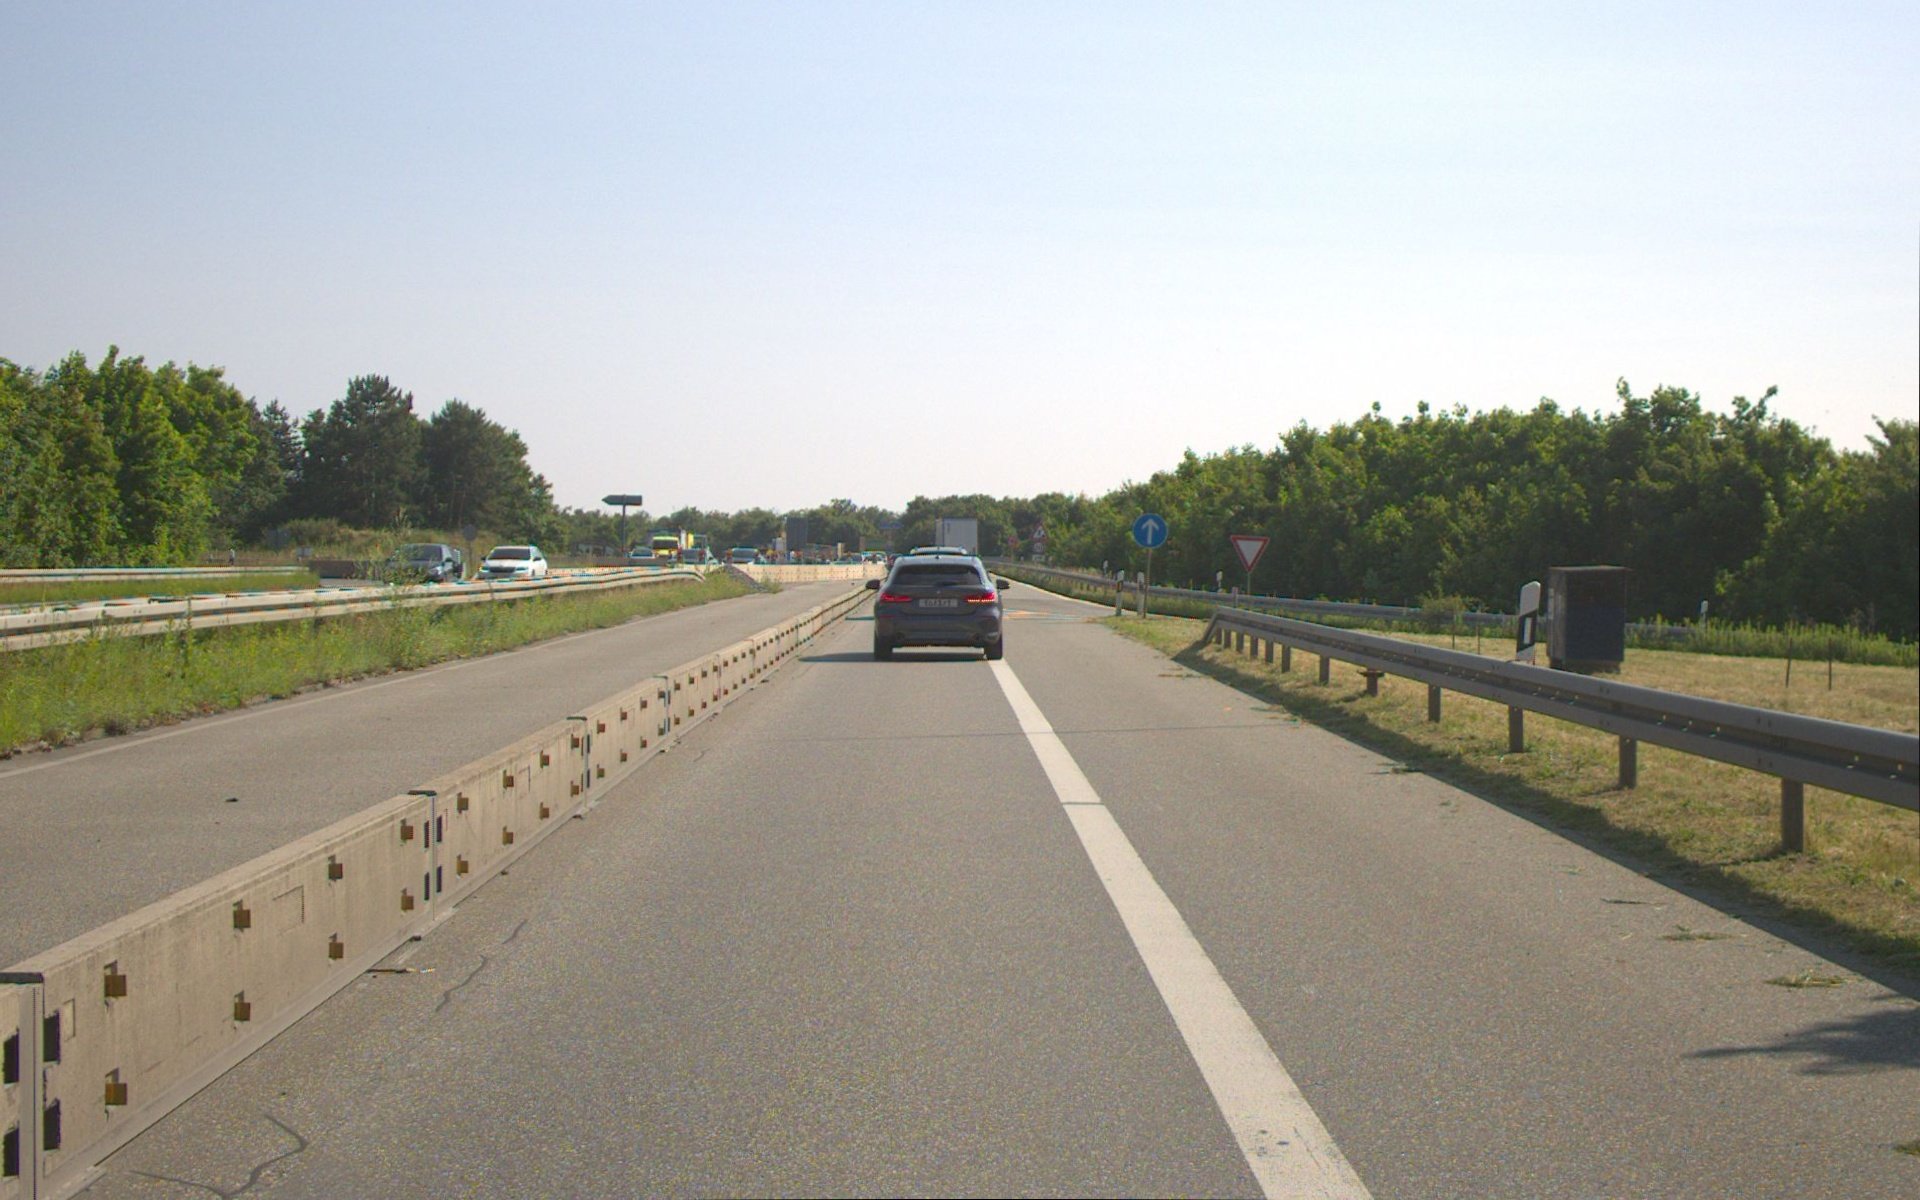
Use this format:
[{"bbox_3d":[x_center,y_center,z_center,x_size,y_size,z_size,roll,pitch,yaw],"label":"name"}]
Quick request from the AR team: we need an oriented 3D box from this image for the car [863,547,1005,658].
[{"bbox_3d":[-0.405,0.000,48.507,1.920,1.488,4.000,0,1,-2],"label":"car"}]

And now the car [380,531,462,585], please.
[{"bbox_3d":[-15.343,-1.201,98.022,1.738,1.489,4.110,1,1,-1],"label":"car"}]

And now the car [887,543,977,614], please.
[{"bbox_3d":[-0.606,-0.517,78.247,1.993,1.561,4.000,0,1,0],"label":"car"}]

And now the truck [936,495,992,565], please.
[{"bbox_3d":[0.245,-5.113,251.645,3.761,4.894,14.138,1,1,-1],"label":"truck"}]

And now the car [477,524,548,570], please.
[{"bbox_3d":[-14.745,-1.754,113.450,1.760,1.465,4.795,2,1,-1],"label":"car"}]
